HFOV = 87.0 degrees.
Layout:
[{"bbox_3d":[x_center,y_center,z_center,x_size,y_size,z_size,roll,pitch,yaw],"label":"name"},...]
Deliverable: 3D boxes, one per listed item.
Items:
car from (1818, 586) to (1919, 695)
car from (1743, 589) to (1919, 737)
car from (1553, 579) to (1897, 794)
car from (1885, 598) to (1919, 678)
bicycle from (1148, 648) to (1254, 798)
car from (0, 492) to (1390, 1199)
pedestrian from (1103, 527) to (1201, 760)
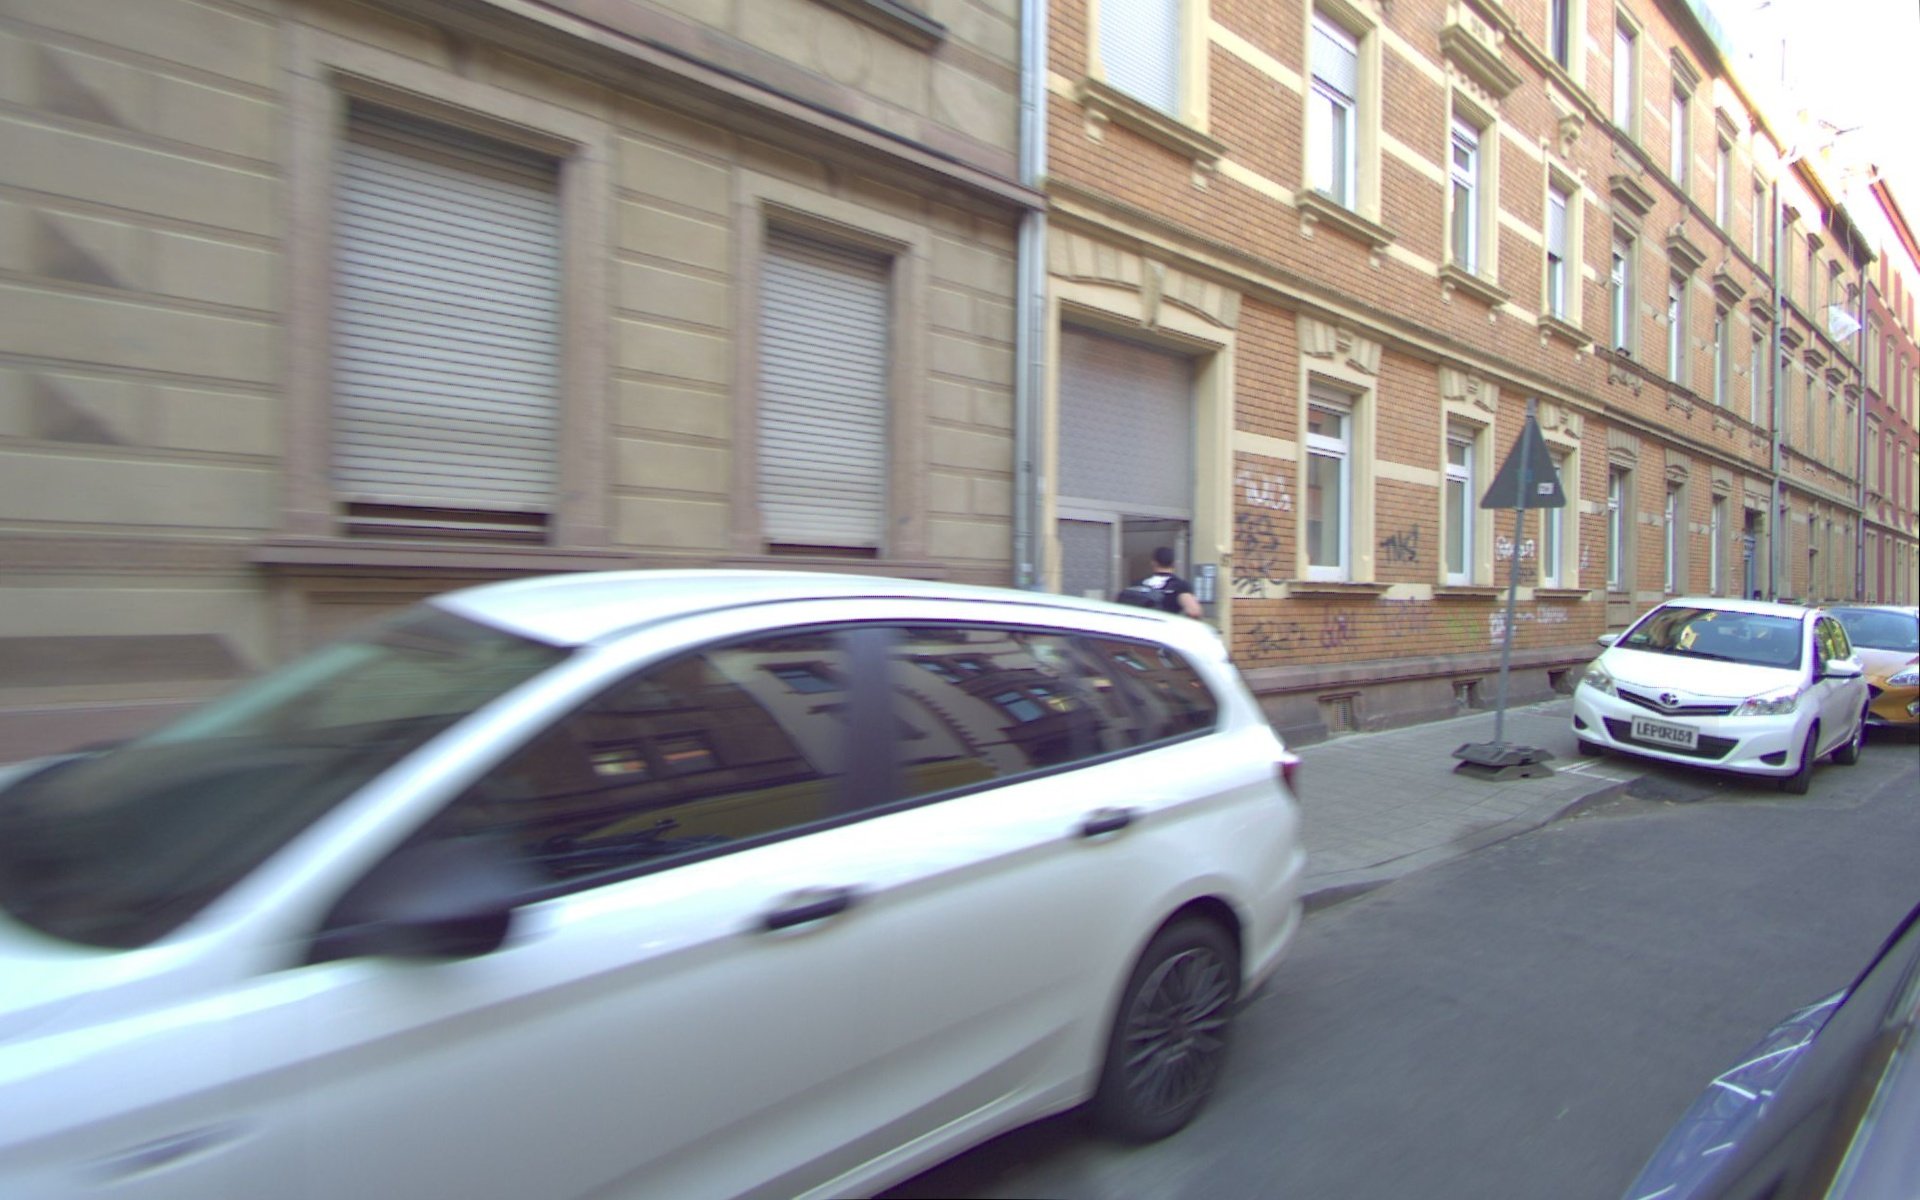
[{"bbox_3d":[14.671,0.588,15.519,4.024,1.434,1.729,0,4,-42],"label":"car"},{"bbox_3d":[11.155,0.652,12.388,4.000,1.463,1.757,0,4,-42],"label":"car"},{"bbox_3d":[7.276,0.624,9.483,4.012,1.498,1.724,0,4,-41],"label":"car"},{"bbox_3d":[18.882,0.691,18.962,4.240,1.414,1.781,0,0,-40],"label":"car"},{"bbox_3d":[1.770,0.857,7.638,0.586,0.826,1.823,2,2,8],"label":"bicycle"},{"bbox_3d":[-0.814,0.588,2.606,4.366,1.536,1.758,0,4,-42],"label":"car"},{"bbox_3d":[1.434,0.293,7.680,0.644,1.650,0.879,1,2,8],"label":"pedestrian"}]
